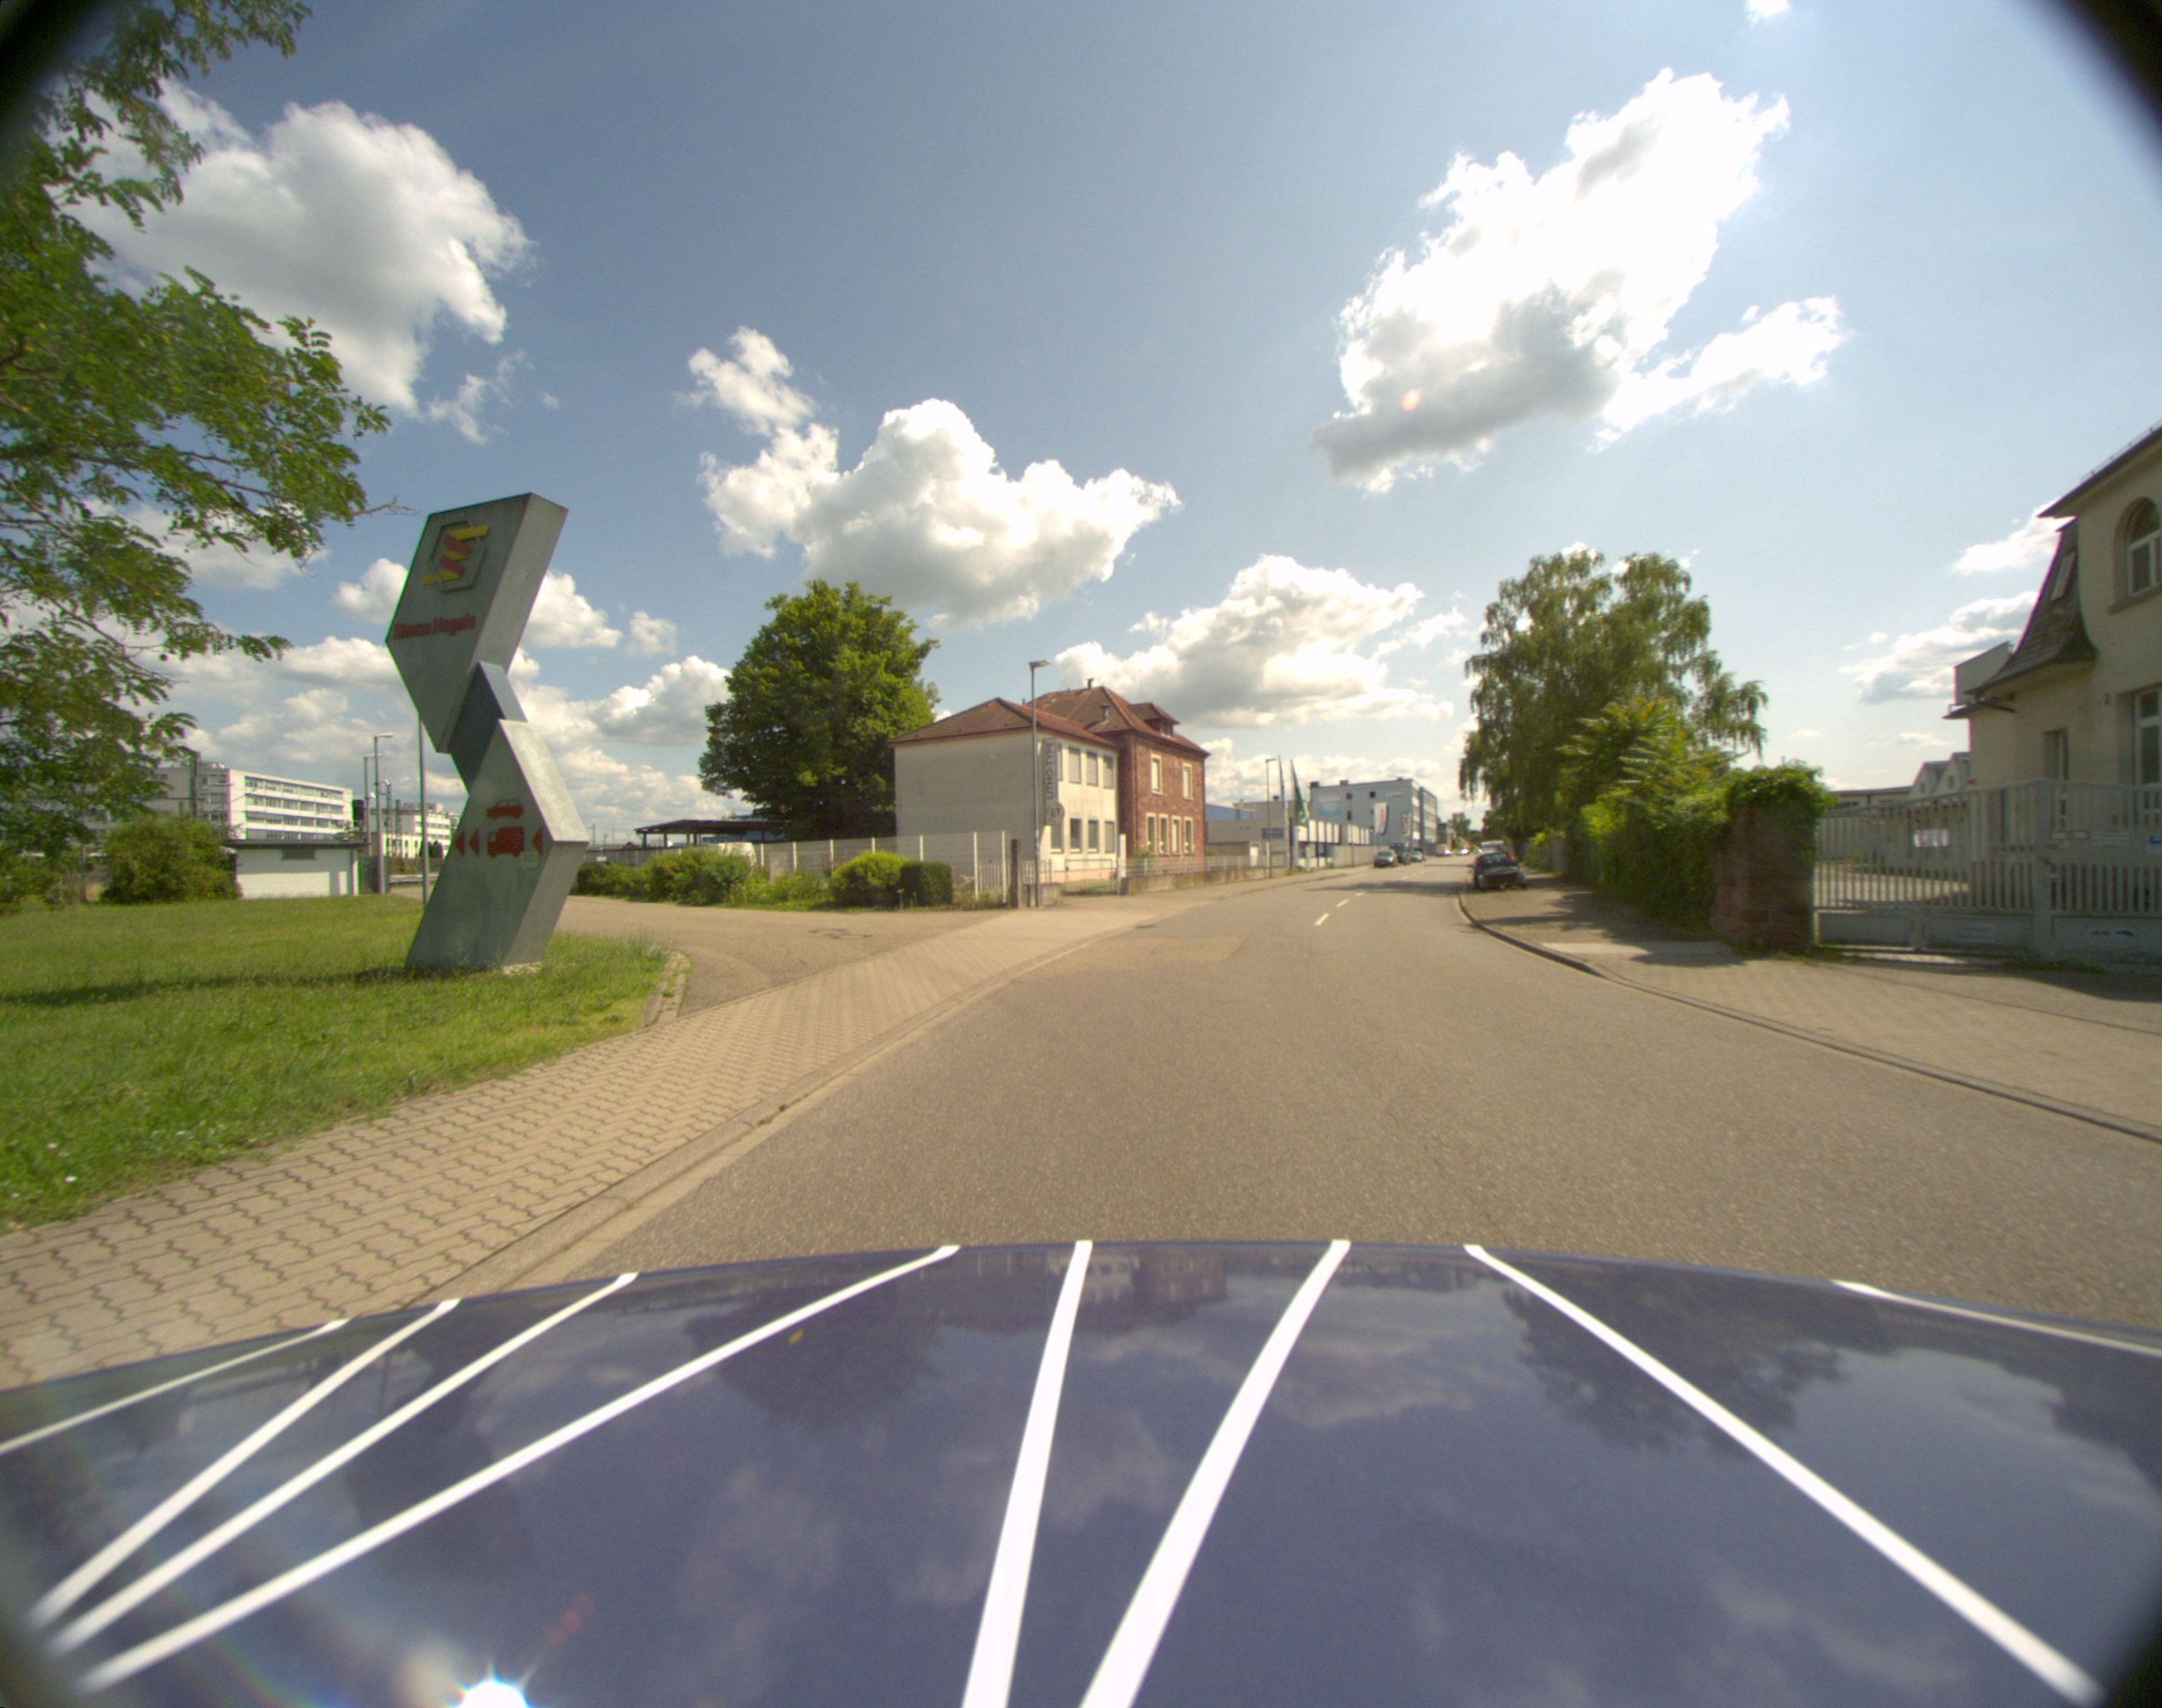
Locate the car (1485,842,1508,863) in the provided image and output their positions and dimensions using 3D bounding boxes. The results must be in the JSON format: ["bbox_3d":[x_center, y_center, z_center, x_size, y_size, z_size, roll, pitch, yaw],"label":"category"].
[{"bbox_3d":[44.170,-0.200,80.899,1.900,1.942,4.967,-7,-2,28],"label":"car"}]

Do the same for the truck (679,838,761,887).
[{"bbox_3d":[-18.776,0.430,39.451,4.730,2.410,2.004,0,0,39],"label":"truck"}]

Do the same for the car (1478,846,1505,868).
[{"bbox_3d":[30.881,0.211,57.117,1.701,1.585,4.796,-1,0,29],"label":"car"}]

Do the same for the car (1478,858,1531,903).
[{"bbox_3d":[17.411,1.058,31.381,1.684,1.503,4.164,-6,-1,27],"label":"car"}]

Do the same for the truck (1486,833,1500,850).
[{"bbox_3d":[87.468,-2.678,161.514,2.253,3.341,6.919,-6,-3,28],"label":"truck"}]

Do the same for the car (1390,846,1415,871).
[{"bbox_3d":[35.759,0.498,84.441,1.939,2.732,6.166,0,0,28],"label":"car"}]

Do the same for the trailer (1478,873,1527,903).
[{"bbox_3d":[15.631,1.239,28.212,1.466,0.845,2.471,-6,-2,29],"label":"trailer"}]

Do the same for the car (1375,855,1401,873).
[{"bbox_3d":[29.656,0.930,73.370,1.826,1.655,4.564,0,0,29],"label":"car"}]

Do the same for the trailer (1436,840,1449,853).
[{"bbox_3d":[73.529,-1.516,154.629,1.870,2.538,5.081,-1,0,31],"label":"trailer"}]

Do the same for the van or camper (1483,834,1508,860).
[{"bbox_3d":[50.381,-0.871,92.395,2.265,2.786,6.845,-5,-1,27],"label":"van or camper"}]

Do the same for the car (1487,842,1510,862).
[{"bbox_3d":[41.502,-0.177,75.521,1.701,1.791,3.834,-5,-2,30],"label":"car"}]
